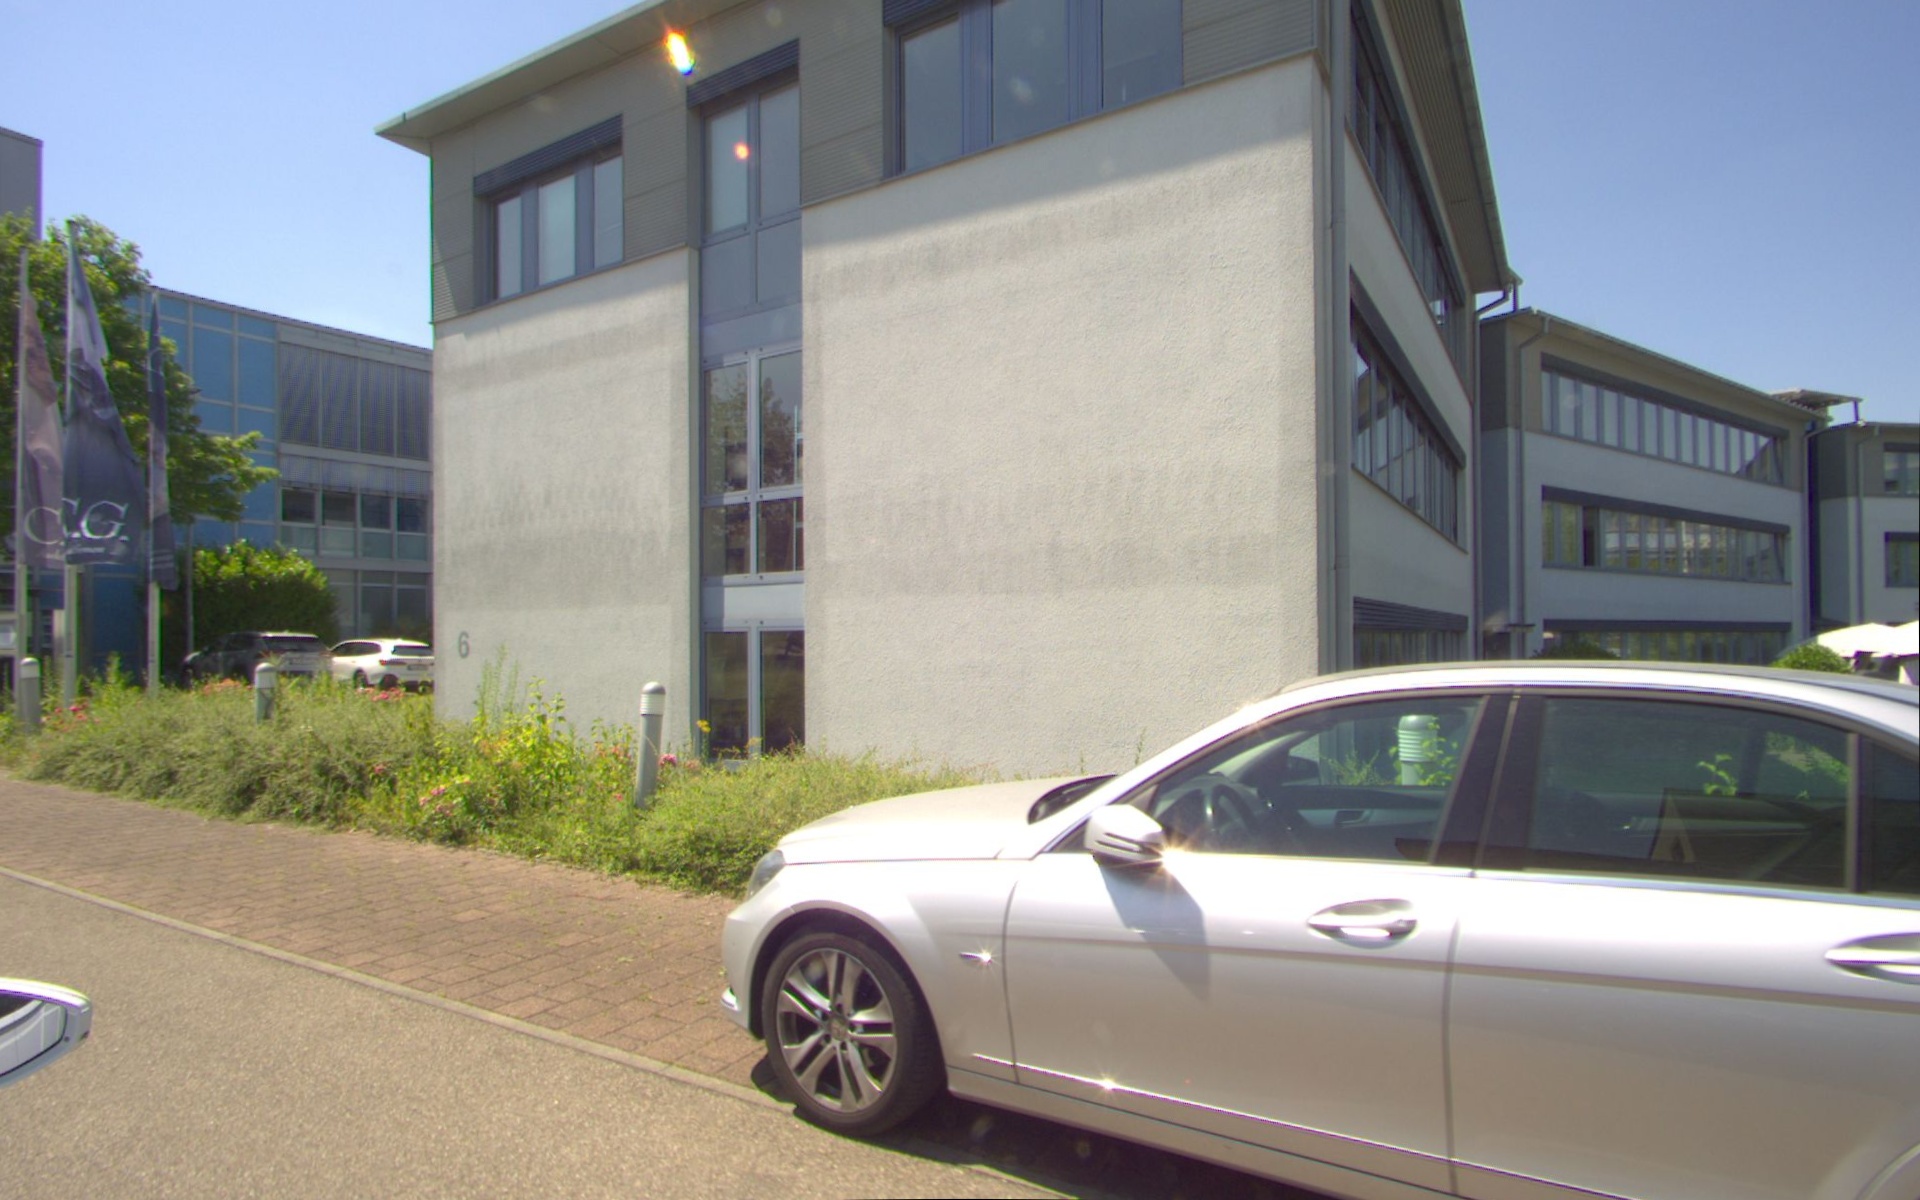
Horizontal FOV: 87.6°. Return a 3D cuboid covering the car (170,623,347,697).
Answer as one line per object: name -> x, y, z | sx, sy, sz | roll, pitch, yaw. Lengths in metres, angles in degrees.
car -> -17.373, 1.425, 24.783 | 4.271, 1.640, 1.819 | 0, -2, 28

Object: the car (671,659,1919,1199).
car -> 1.357, 0.911, 2.913 | 4.357, 1.415, 1.797 | -1, -3, 32

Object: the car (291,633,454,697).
car -> -15.755, 1.722, 26.829 | 4.271, 1.510, 1.736 | 0, -3, 28

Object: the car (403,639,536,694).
car -> -14.381, 1.912, 29.269 | 4.284, 1.447, 1.731 | 0, -3, 37
